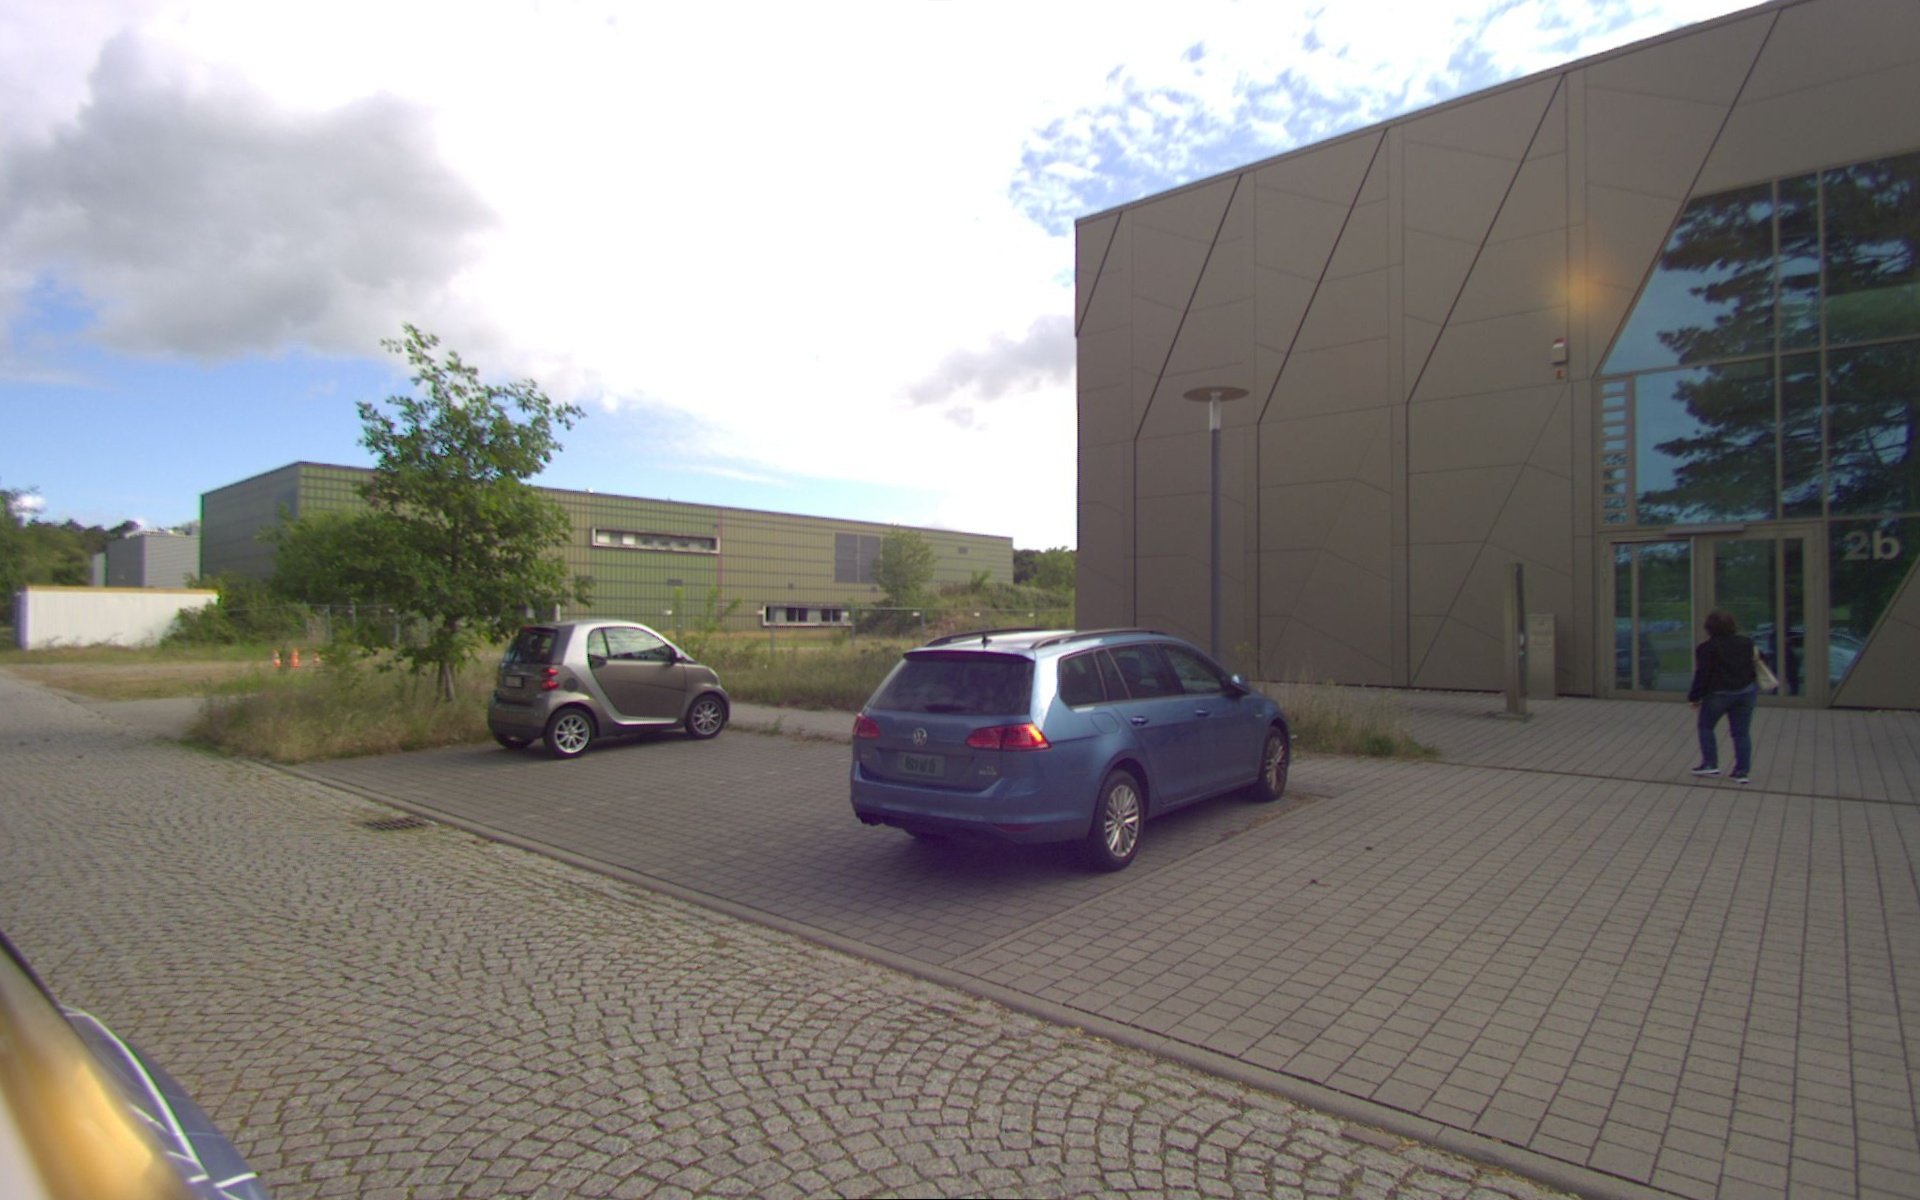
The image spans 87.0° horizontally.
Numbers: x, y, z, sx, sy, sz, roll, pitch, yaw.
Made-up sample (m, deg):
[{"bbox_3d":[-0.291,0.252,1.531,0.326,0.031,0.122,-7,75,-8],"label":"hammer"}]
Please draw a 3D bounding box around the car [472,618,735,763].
[{"bbox_3d":[-4.351,1.018,12.529,1.609,1.523,2.627,-1,-1,40],"label":"car"}]

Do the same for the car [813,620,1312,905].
[{"bbox_3d":[1.052,0.921,7.658,1.771,1.439,4.264,-1,-1,38],"label":"car"}]

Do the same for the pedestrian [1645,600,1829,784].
[{"bbox_3d":[6.766,0.761,8.868,0.806,1.506,0.988,0,1,-5],"label":"pedestrian"}]
